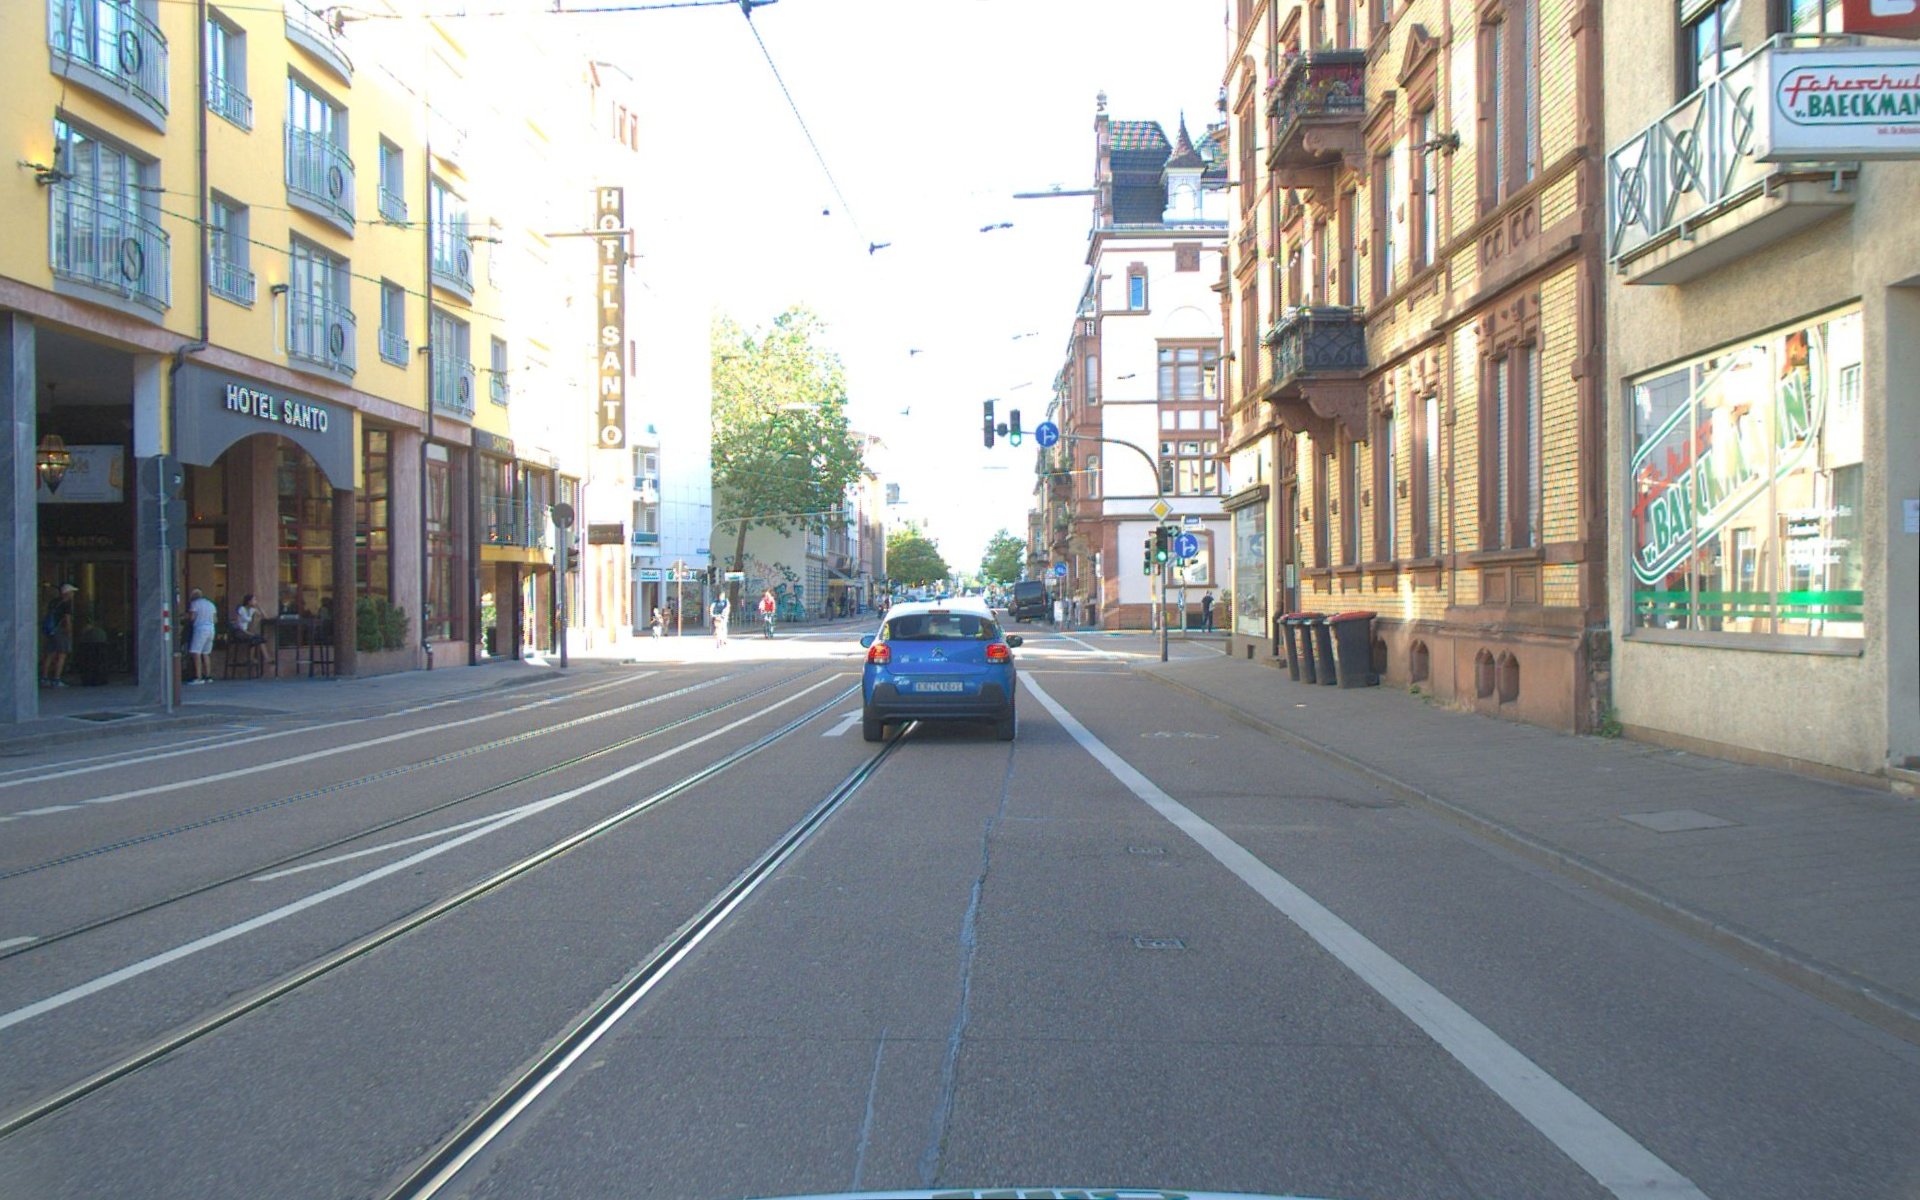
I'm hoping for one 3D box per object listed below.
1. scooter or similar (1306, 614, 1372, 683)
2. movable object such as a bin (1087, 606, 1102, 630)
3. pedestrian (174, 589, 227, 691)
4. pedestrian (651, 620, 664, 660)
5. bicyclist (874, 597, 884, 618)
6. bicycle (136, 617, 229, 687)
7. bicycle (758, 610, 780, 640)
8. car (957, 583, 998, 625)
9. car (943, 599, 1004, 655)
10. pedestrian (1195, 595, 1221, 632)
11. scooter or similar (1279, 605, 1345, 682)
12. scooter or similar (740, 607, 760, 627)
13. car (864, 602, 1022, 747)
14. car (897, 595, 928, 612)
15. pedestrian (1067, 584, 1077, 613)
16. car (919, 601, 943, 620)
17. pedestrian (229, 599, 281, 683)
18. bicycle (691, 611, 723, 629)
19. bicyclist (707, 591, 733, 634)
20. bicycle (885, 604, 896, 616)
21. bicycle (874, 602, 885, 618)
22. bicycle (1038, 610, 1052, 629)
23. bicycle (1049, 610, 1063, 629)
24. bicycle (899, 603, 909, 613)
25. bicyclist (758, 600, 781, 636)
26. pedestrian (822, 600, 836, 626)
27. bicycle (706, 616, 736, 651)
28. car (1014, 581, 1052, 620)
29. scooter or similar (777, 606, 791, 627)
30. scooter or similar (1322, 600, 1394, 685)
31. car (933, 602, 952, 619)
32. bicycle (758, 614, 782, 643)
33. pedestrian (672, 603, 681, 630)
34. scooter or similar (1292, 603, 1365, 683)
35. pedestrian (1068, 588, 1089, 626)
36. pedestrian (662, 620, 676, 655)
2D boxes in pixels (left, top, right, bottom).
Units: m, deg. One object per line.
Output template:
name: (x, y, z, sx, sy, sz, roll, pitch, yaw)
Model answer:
scooter or similar: (5.809, 0.738, 25.349, 0.774, 0.974, 0.680, -5, 0, -1)
movable object such as a bin: (6.593, 0.875, 81.148, 0.652, 1.174, 0.594, 0, 0, -2)
pedestrian: (-13.703, 0.720, 29.856, 0.549, 1.801, 0.723, 1, -1, 5)
pedestrian: (-11.129, 1.462, 60.842, 0.395, 1.435, 0.516, 0, -1, -1)
bicyclist: (-5.951, 0.558, 122.129, 0.668, 1.509, 0.778, -1, 0, 0)
bicycle: (-14.236, 0.936, 30.346, 0.569, 1.224, 2.082, 0, 0, 5)
bicycle: (-7.931, 1.040, 68.706, 0.716, 1.204, 2.061, -1, 0, -1)
car: (0.835, 0.190, 83.031, 1.953, 2.049, 4.000, -1, 0, 0)
car: (0.360, 0.734, 46.819, 1.633, 1.504, 4.000, -1, 0, 0)
pedestrian: (10.171, 0.549, 67.796, 0.918, 1.482, 0.823, -1, 0, 16)
scooter or similar: (5.762, 0.709, 27.107, 0.879, 1.168, 0.547, -5, 0, -1)
scooter or similar: (-13.426, 1.088, 105.754, 1.206, 1.280, 0.765, 0, 0, -12)
car: (-0.192, 0.779, 19.292, 1.640, 1.503, 3.999, 0, 0, 0)
car: (-7.140, 0.518, 247.979, 4.254, 2.626, 2.192, 0, 0, -25)
pedestrian: (7.192, -0.092, 106.341, 0.542, 1.813, 0.606, 0, 0, -1)
car: (-2.450, 0.872, 140.989, 1.945, 1.528, 4.308, -1, 0, 0)
pedestrian: (-13.379, 0.763, 31.387, 0.690, 1.574, 0.601, 0, 0, 5)
bicycle: (-15.252, 1.212, 99.637, 1.878, 1.053, 0.664, 0, 0, 27)
bicyclist: (-7.974, 0.413, 55.009, 0.709, 1.405, 1.227, 0, 0, -1)
bicycle: (-8.380, 1.220, 198.999, 1.098, 1.342, 3.640, -1, 0, -5)
bicycle: (-5.936, 0.721, 121.912, 0.678, 1.140, 2.083, 0, 0, 0)
bicycle: (4.469, 1.029, 86.855, 0.422, 0.964, 1.761, 0, 0, -6)
bicycle: (5.057, 1.043, 86.900, 0.422, 0.964, 1.761, 0, 0, -6)
bicycle: (-6.766, 0.963, 199.235, 1.098, 1.166, 3.640, -1, 0, -5)
bicyclist: (-7.550, 0.697, 65.634, 0.720, 1.405, 1.468, -1, 0, -1)
pedestrian: (-8.828, 0.880, 111.638, 0.668, 1.796, 1.026, 0, 0, 11)
bicycle: (-7.979, 1.113, 55.180, 0.716, 1.107, 2.061, 0, 0, -1)
car: (4.687, 0.039, 107.187, 2.225, 2.479, 5.720, -1, 0, 1)
scooter or similar: (-11.428, 1.067, 107.189, 0.772, 1.294, 1.074, 0, 0, 0)
scooter or similar: (5.866, 0.620, 24.407, 0.774, 1.168, 0.790, -5, 0, -1)
car: (-1.900, 1.118, 180.197, 1.953, 1.774, 4.562, -1, 0, 0)
bicycle: (-7.543, 1.124, 65.735, 0.716, 1.084, 2.061, -1, 0, -1)
pedestrian: (-18.143, 1.048, 105.855, 0.446, 1.748, 0.547, -1, 0, -1)
scooter or similar: (5.798, 0.666, 26.074, 0.914, 1.168, 0.650, -5, 0, -1)
pedestrian: (6.011, 0.364, 83.834, 0.692, 1.810, 0.673, -12, 0, -1)
pedestrian: (-13.511, 1.735, 76.738, 0.531, 1.579, 0.516, -1, 0, -1)
